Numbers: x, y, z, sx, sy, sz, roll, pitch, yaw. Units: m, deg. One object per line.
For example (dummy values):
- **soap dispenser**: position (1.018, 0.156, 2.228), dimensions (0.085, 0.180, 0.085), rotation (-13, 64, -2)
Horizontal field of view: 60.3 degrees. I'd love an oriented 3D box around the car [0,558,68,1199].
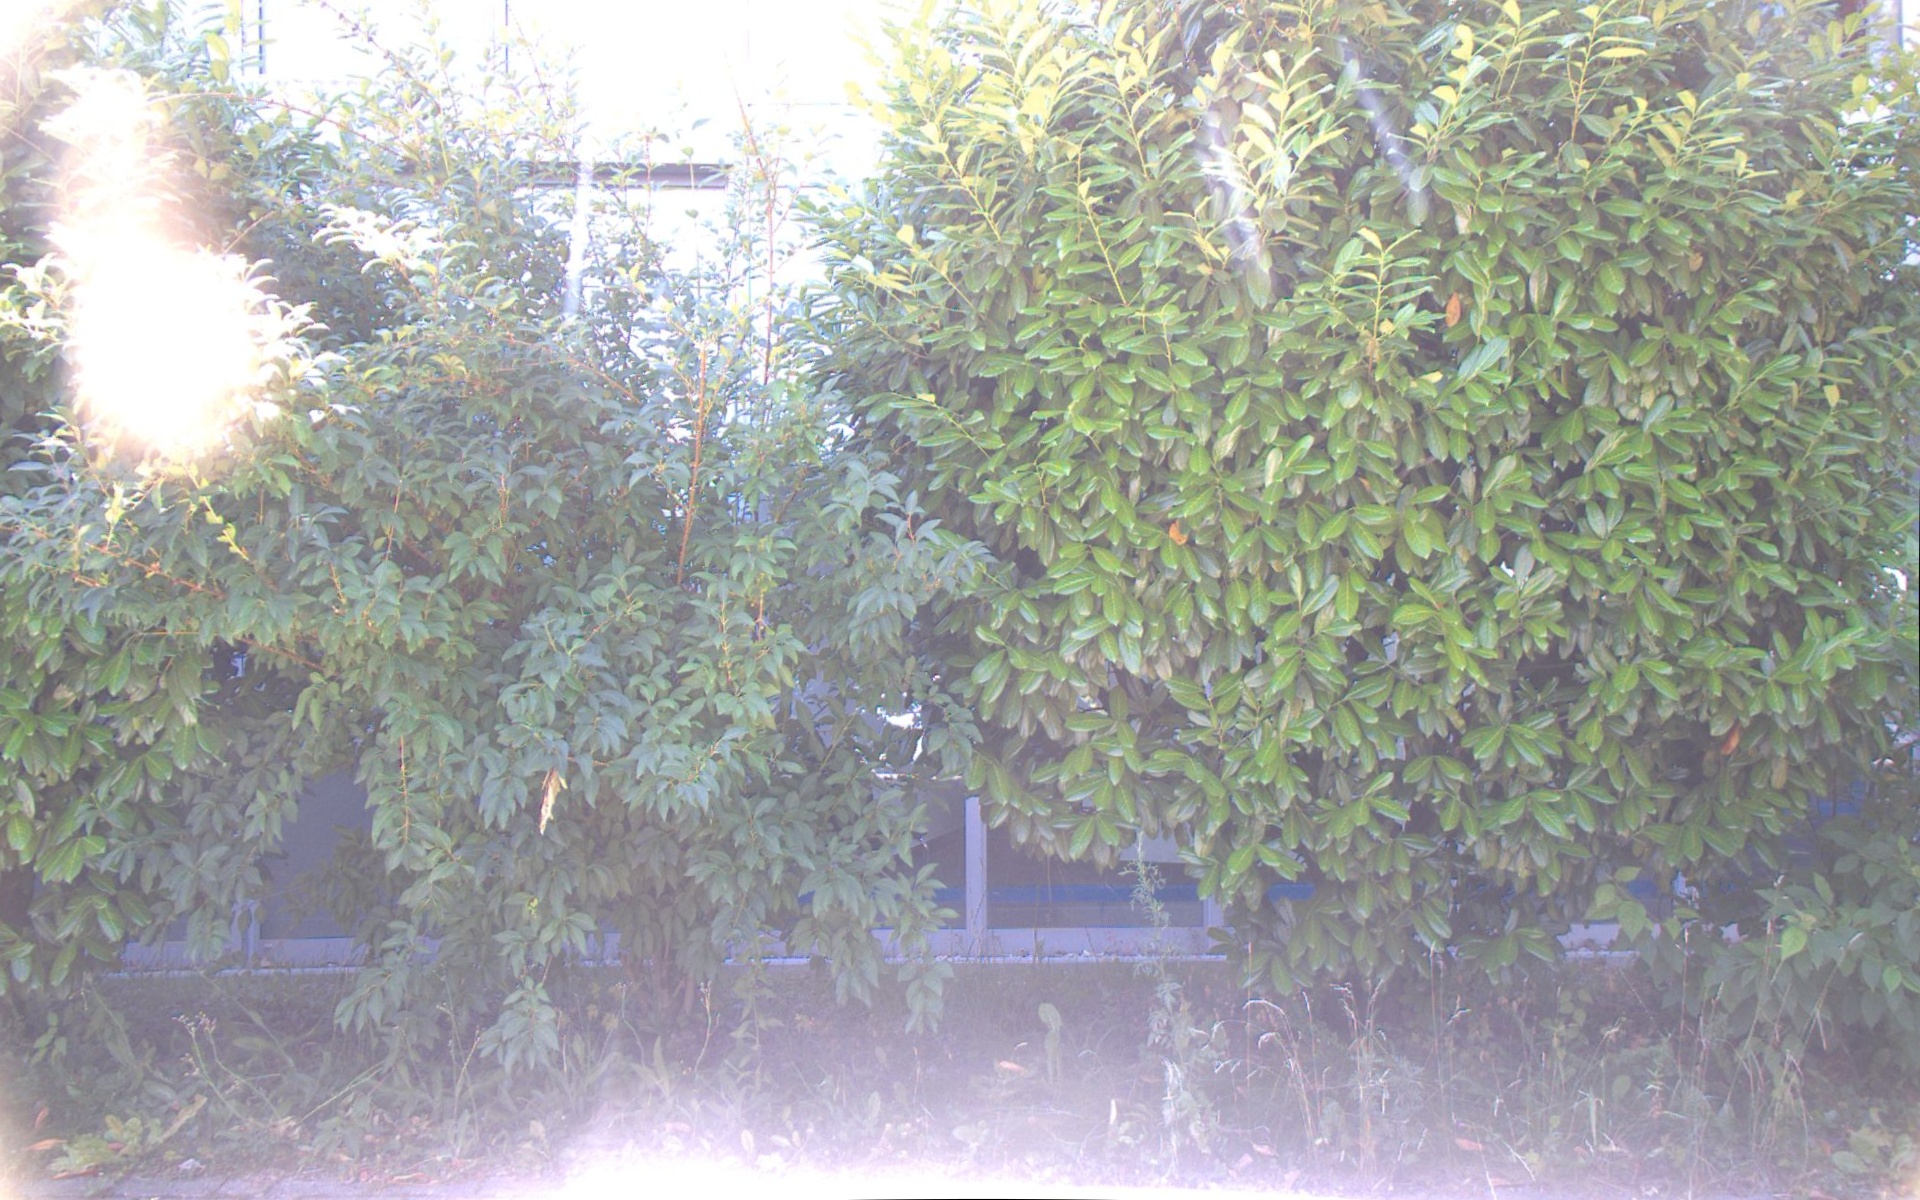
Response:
- **car**: position (-2.016, 0.691, 0.138), dimensions (1.685, 1.505, 4.346), rotation (1, 0, -3)
